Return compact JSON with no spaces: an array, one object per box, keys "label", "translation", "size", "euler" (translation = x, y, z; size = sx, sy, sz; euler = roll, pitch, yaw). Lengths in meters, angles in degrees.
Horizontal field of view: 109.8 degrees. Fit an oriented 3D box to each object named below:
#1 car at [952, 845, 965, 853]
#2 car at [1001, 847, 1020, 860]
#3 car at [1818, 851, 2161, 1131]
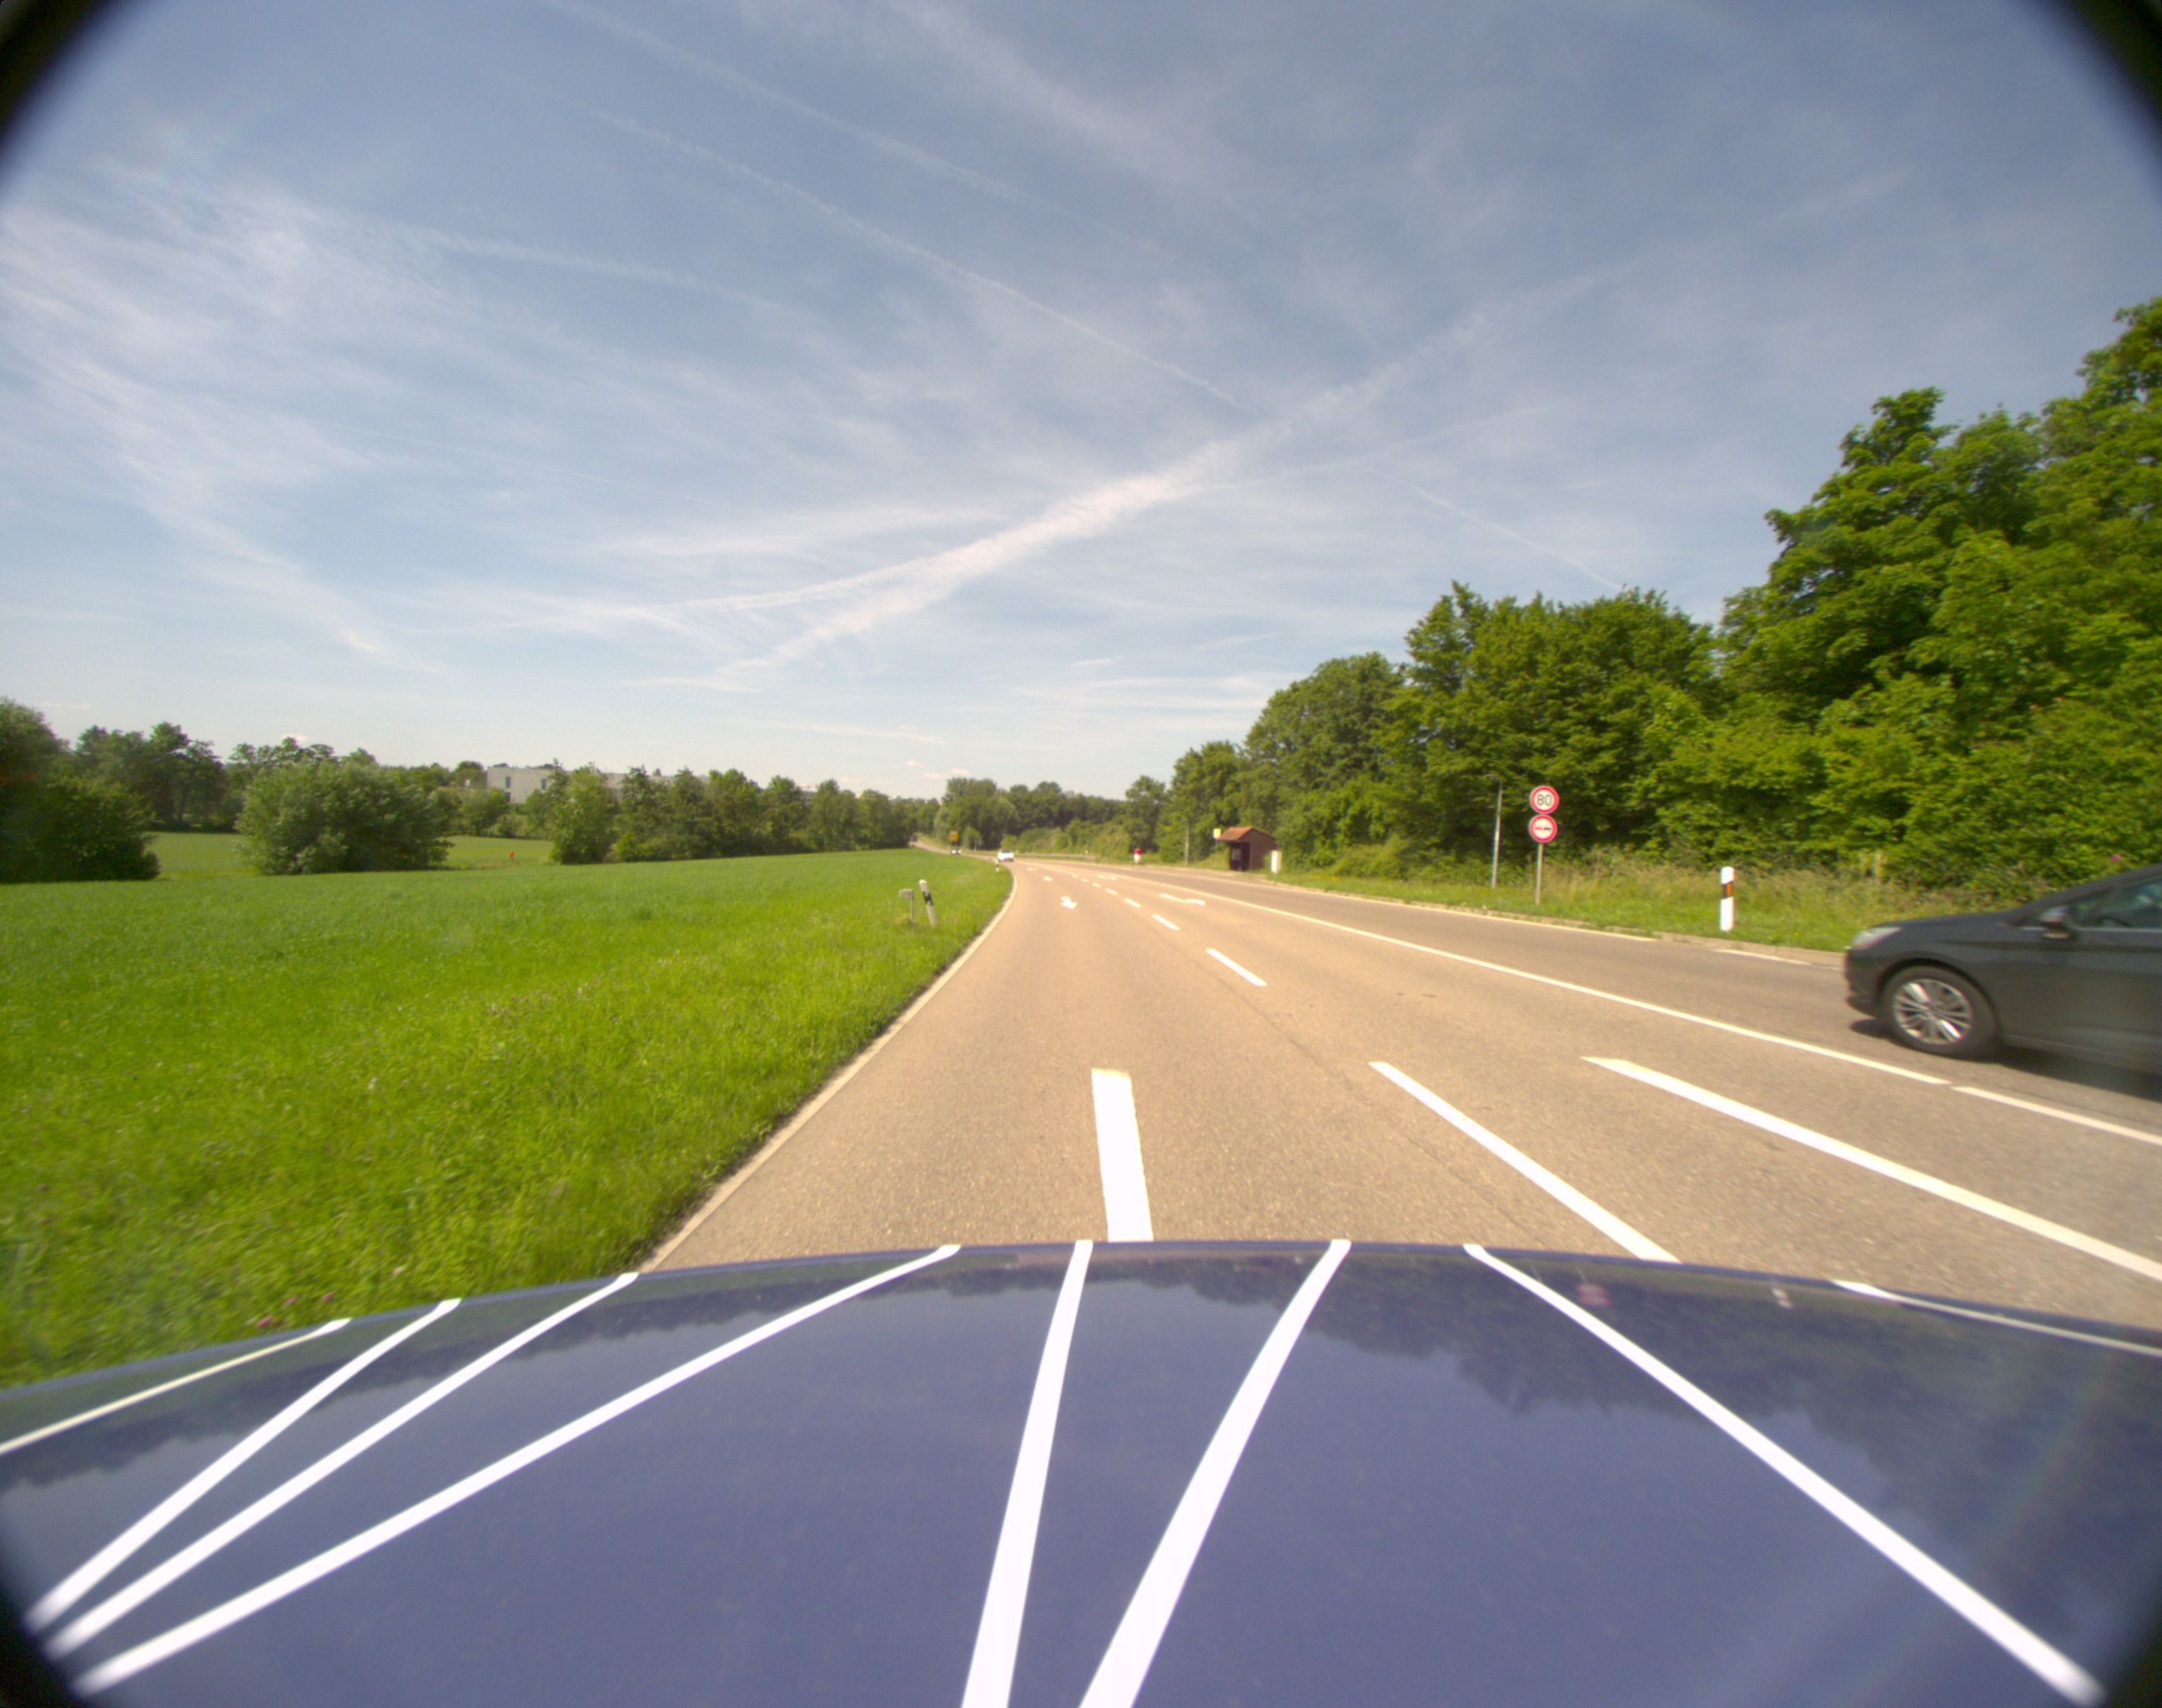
[{"label":"car","translation":[-25.878,-1.052,160.480],"size":[2.001,1.576,3.994],"euler":[-1,1,-17]},{"label":"car","translation":[-8.927,-0.071,95.828],"size":[2.001,1.576,3.995],"euler":[-1,1,-12]},{"label":"car","translation":[6.654,0.740,3.735],"size":[1.796,1.466,4.309],"euler":[-1,1,-2]}]
